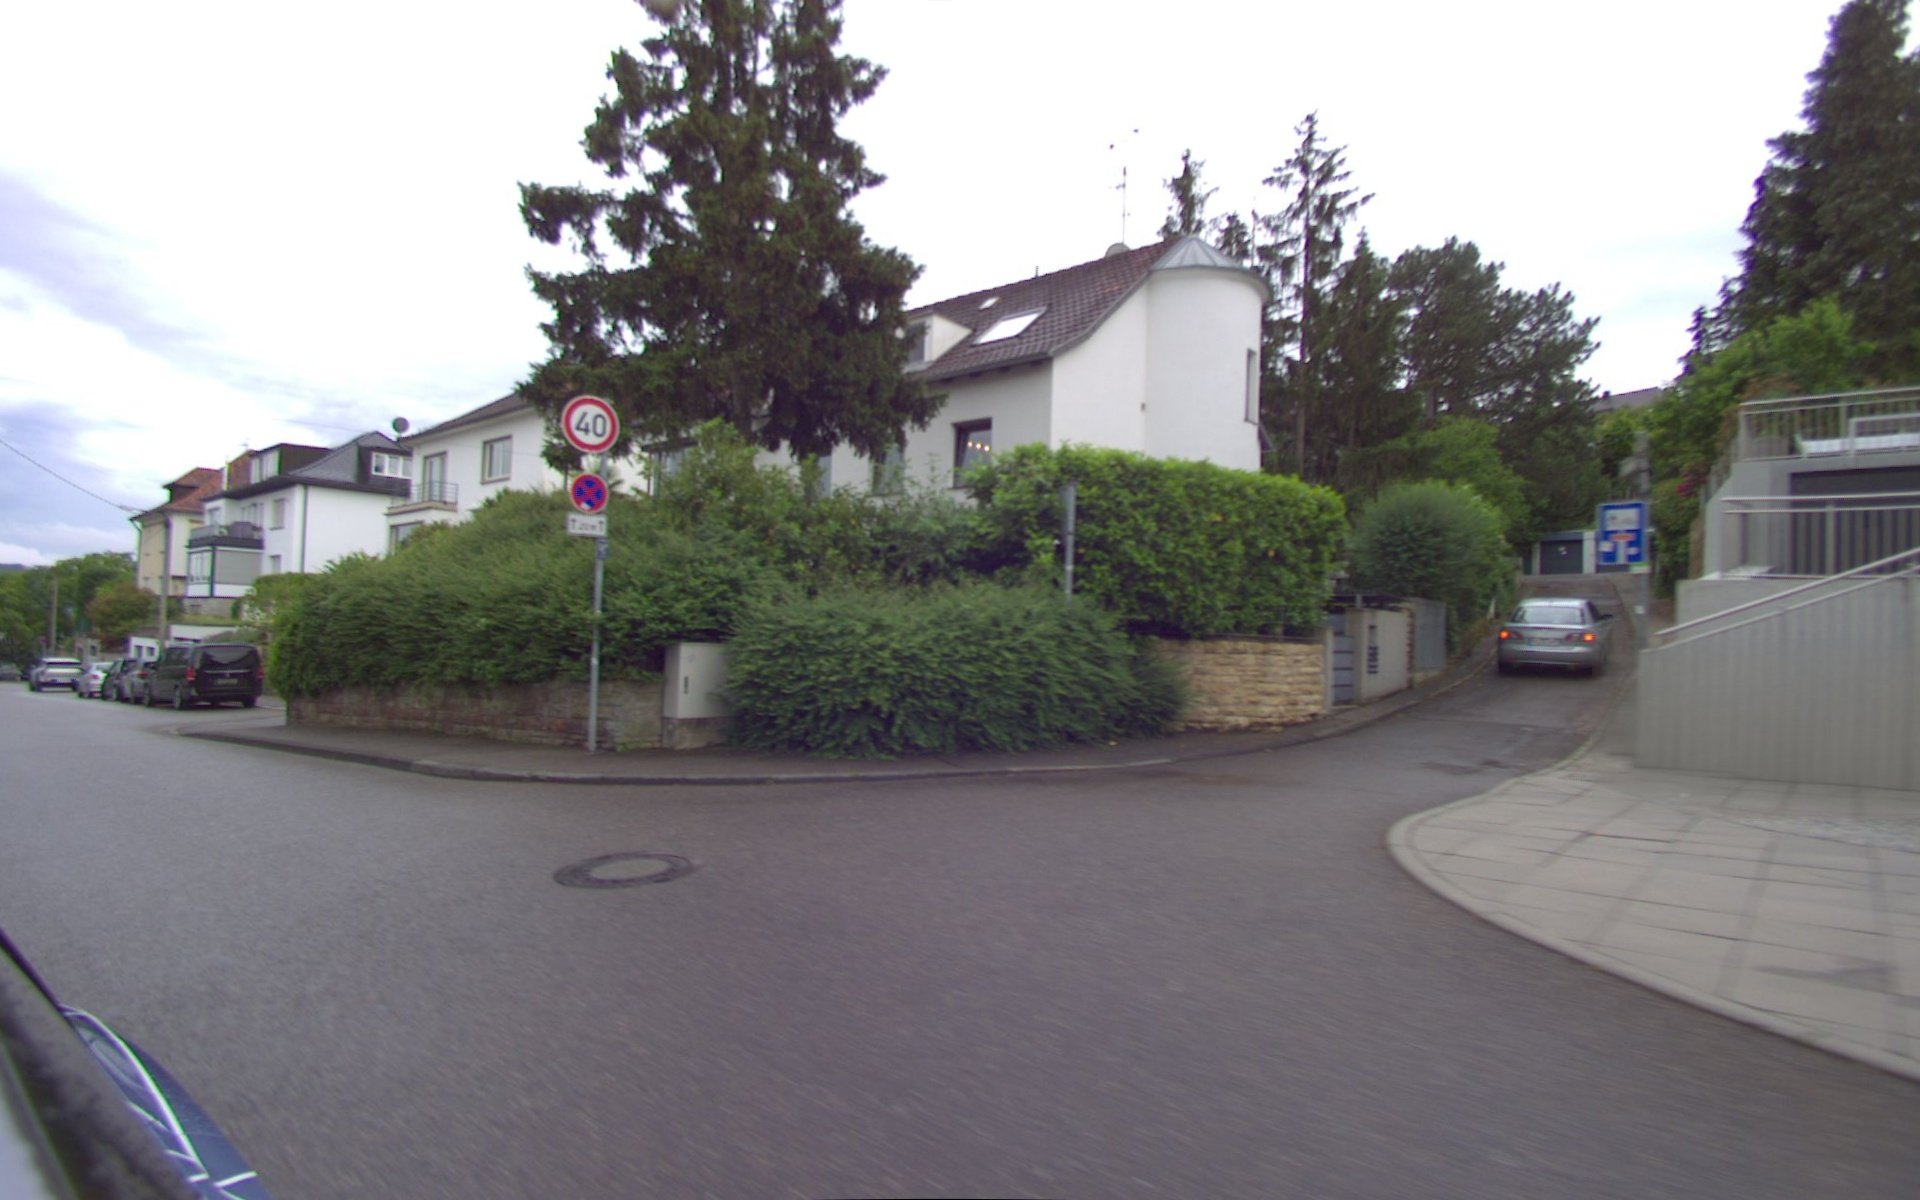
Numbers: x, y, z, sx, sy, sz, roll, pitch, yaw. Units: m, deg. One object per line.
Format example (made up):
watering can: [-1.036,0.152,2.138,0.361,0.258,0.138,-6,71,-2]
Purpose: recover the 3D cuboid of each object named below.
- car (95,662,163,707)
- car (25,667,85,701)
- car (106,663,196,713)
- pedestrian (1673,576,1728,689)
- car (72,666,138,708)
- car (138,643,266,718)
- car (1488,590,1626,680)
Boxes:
car: [-30.294,3.058,36.862,2.893,1.502,1.502,-4,-3,42]
car: [-43.209,3.964,48.288,4.001,1.512,1.843,-3,-4,44]
car: [-27.145,2.922,33.921,4.401,1.502,1.674,-4,-3,42]
pedestrian: [12.512,0.553,17.099,0.639,1.866,0.800,-3,-4,40]
car: [-33.645,3.401,39.806,3.436,1.502,1.573,-4,-3,42]
car: [-22.449,2.348,29.910,4.769,1.972,1.974,-4,-3,39]
car: [12.259,0.649,20.651,1.820,1.568,4.323,-3,0,38]
